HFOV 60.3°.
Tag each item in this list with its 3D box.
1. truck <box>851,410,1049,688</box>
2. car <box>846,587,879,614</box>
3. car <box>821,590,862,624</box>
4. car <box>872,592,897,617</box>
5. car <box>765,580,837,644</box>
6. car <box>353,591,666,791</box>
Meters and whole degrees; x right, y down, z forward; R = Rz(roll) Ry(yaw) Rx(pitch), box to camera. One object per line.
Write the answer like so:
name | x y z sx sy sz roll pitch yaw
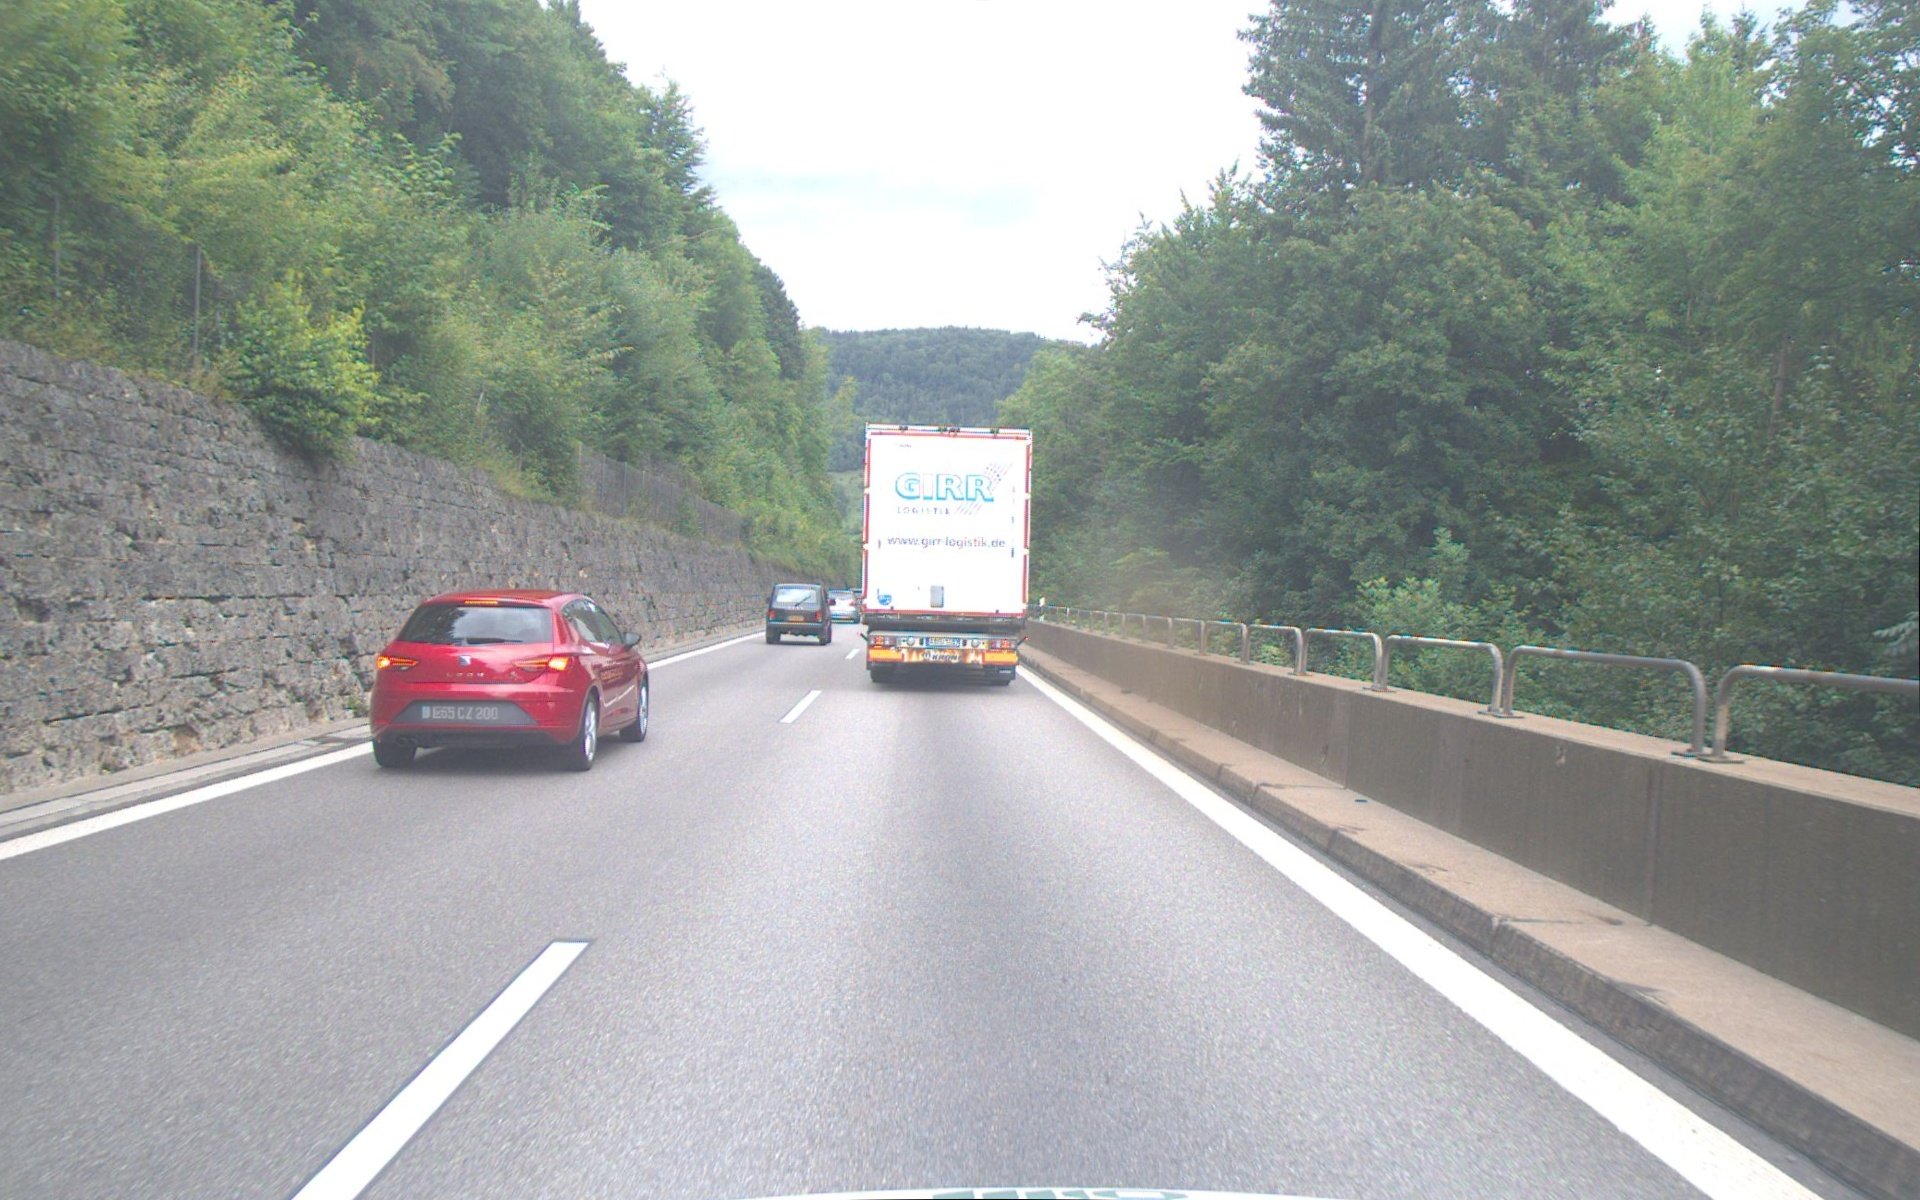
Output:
truck | -0.204 -0.741 28.950 2.849 4.030 9.277 1 0 -1
car | -6.027 0.029 102.528 1.878 1.623 4.177 1 0 -2
car | -5.462 0.335 76.486 1.694 1.512 3.999 1 0 -2
car | -6.529 0.398 143.744 1.953 2.049 3.999 1 -1 0
car | -4.327 0.327 45.533 1.635 1.667 4.067 1 0 -1
car | -3.794 0.701 14.711 1.731 1.485 4.409 1 0 -3
